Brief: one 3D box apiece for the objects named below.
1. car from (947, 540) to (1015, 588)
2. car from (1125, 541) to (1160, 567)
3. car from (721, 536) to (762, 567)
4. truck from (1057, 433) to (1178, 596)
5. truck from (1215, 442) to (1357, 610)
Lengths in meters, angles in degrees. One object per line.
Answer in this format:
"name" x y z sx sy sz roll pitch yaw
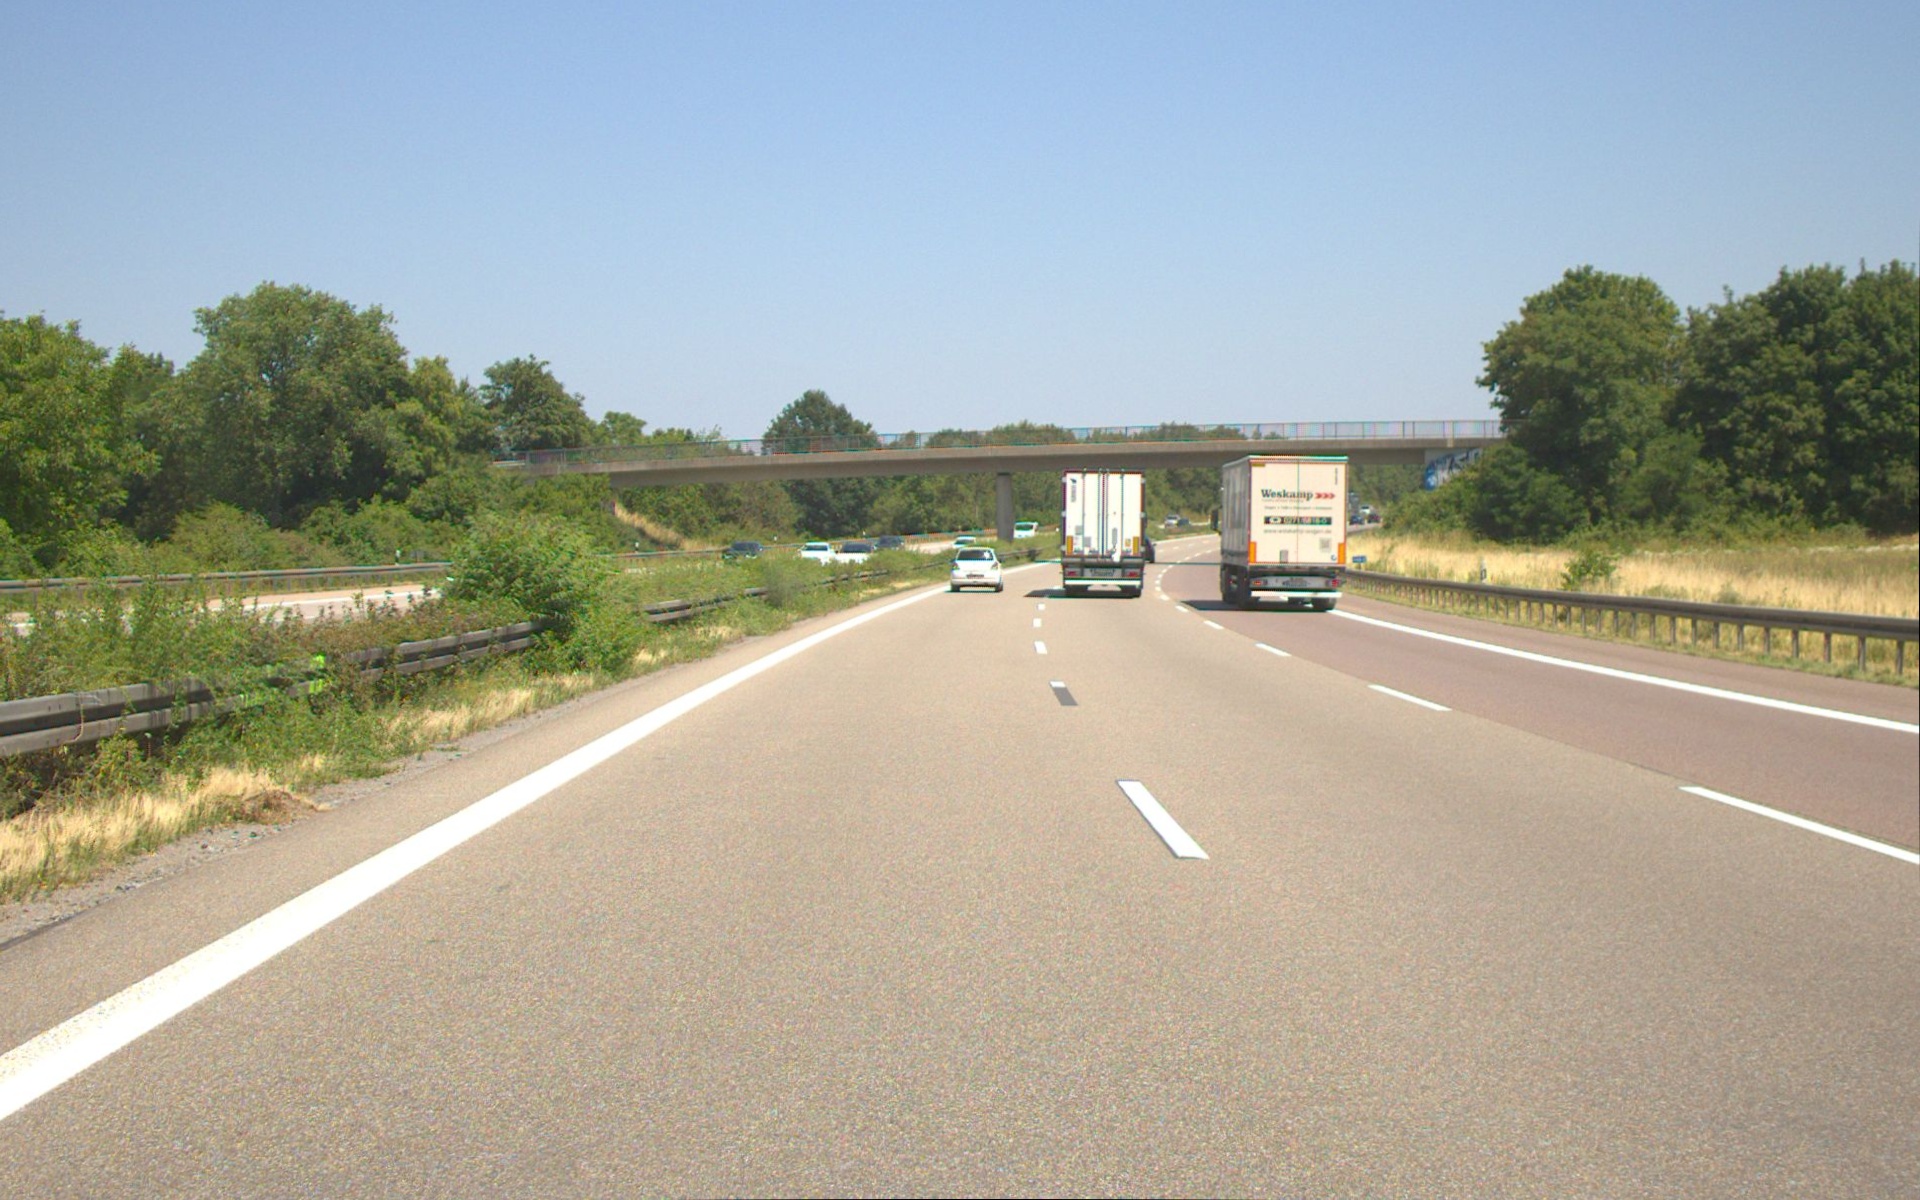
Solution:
"car" 0.737 -1.243 117.117 1.828 1.542 4.318 1 1 7
"car" 11.181 -2.801 210.517 1.828 1.542 4.318 1 1 7
"car" -11.693 -2.616 184.062 1.782 1.655 4.658 0 1 1
"truck" 5.161 -2.872 113.851 3.666 5.001 16.017 1 2 2
"truck" 8.944 -2.130 96.155 3.181 4.289 16.017 1 2 3
